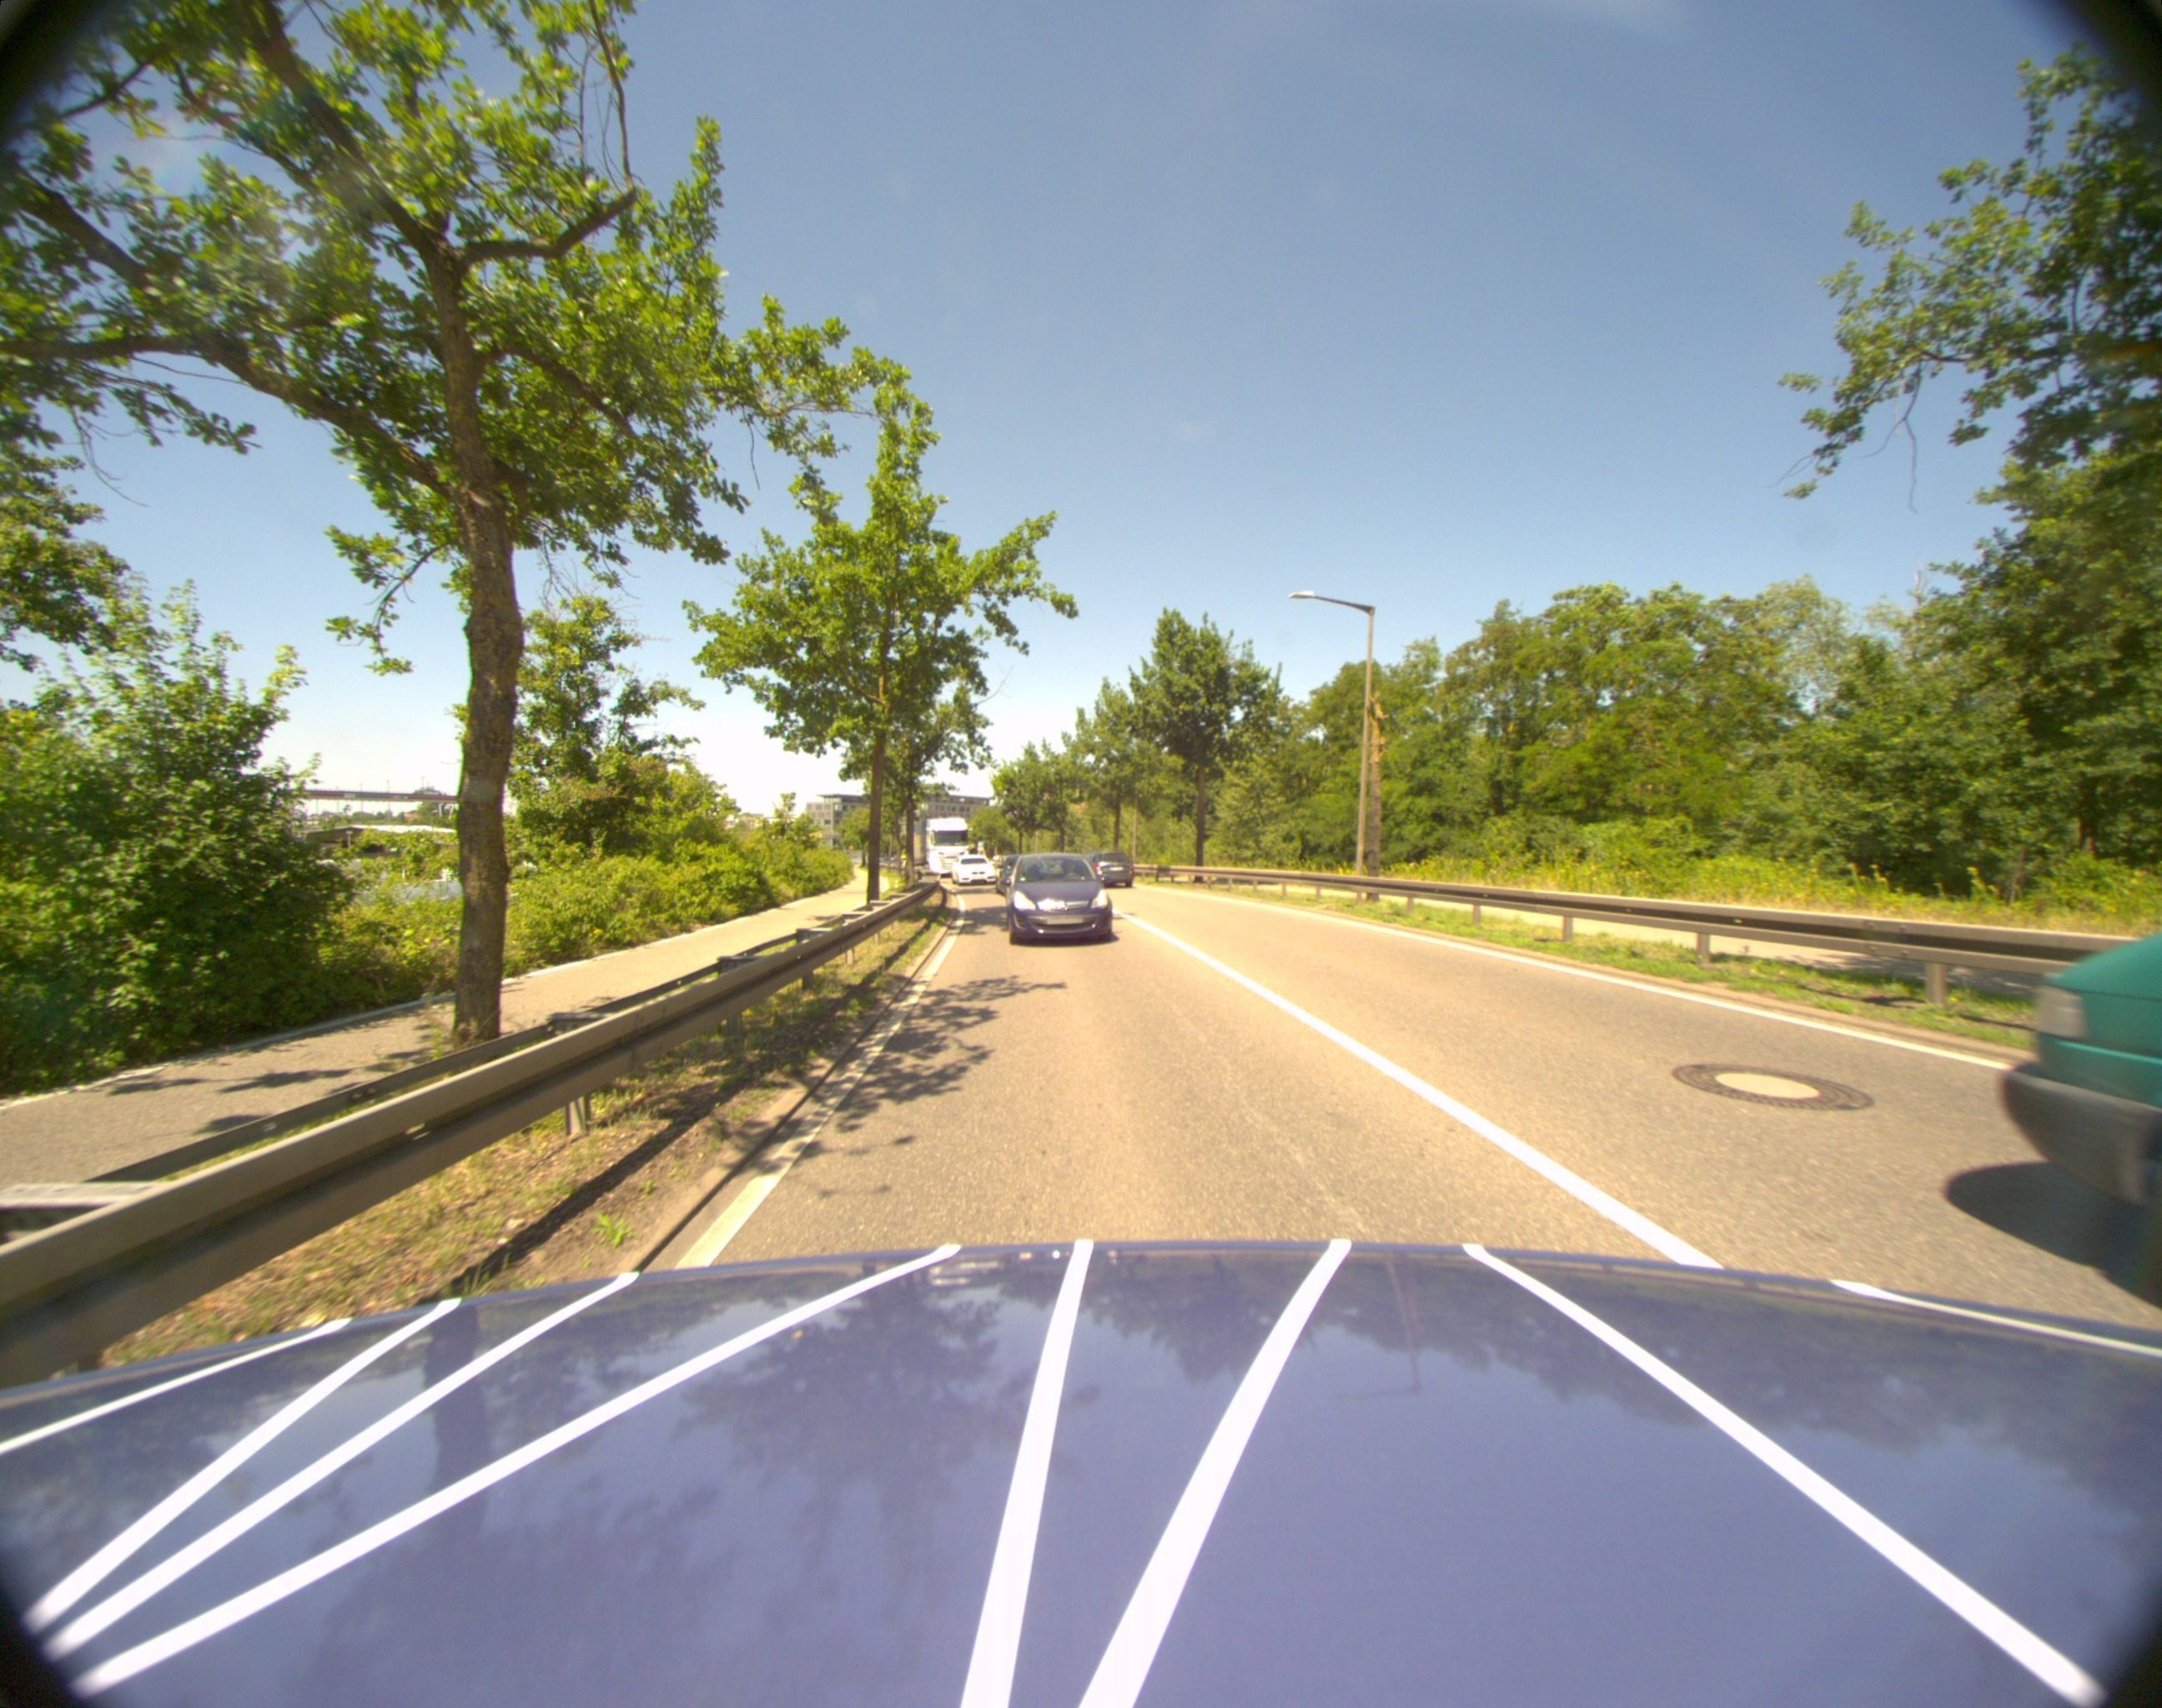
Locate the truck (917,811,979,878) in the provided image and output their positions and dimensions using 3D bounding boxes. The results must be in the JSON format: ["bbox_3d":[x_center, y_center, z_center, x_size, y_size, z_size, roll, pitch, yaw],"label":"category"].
[{"bbox_3d":[-9.433,-0.636,53.189,2.862,4.244,8.801,-2,1,-19],"label":"truck"}]

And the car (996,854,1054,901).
[{"bbox_3d":[-1.967,0.720,25.794,1.570,1.408,4.118,-2,1,-9],"label":"car"}]

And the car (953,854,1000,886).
[{"bbox_3d":[-5.088,0.734,36.578,1.818,1.420,3.710,-2,1,-14],"label":"car"}]

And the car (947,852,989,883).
[{"bbox_3d":[-6.918,0.759,46.153,1.903,1.645,4.250,-2,2,-17],"label":"car"}]

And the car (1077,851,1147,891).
[{"bbox_3d":[1.149,0.603,30.432,1.750,1.439,4.512,-2,1,-12],"label":"car"}]

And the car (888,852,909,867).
[{"bbox_3d":[-20.504,0.559,85.376,1.978,1.567,3.994,-2,1,-18],"label":"car"}]

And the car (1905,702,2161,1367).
[{"bbox_3d":[4.091,0.522,0.503,1.835,1.927,4.774,-1,1,-2],"label":"car"}]

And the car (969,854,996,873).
[{"bbox_3d":[-8.102,0.714,62.293,1.731,1.430,4.018,-2,1,-14],"label":"car"}]

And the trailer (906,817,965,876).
[{"bbox_3d":[-11.918,-0.544,60.938,2.885,4.190,13.986,-2,1,-18],"label":"trailer"}]

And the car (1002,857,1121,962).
[{"bbox_3d":[-0.504,0.820,13.386,1.699,1.459,4.380,-2,1,-6],"label":"car"}]
